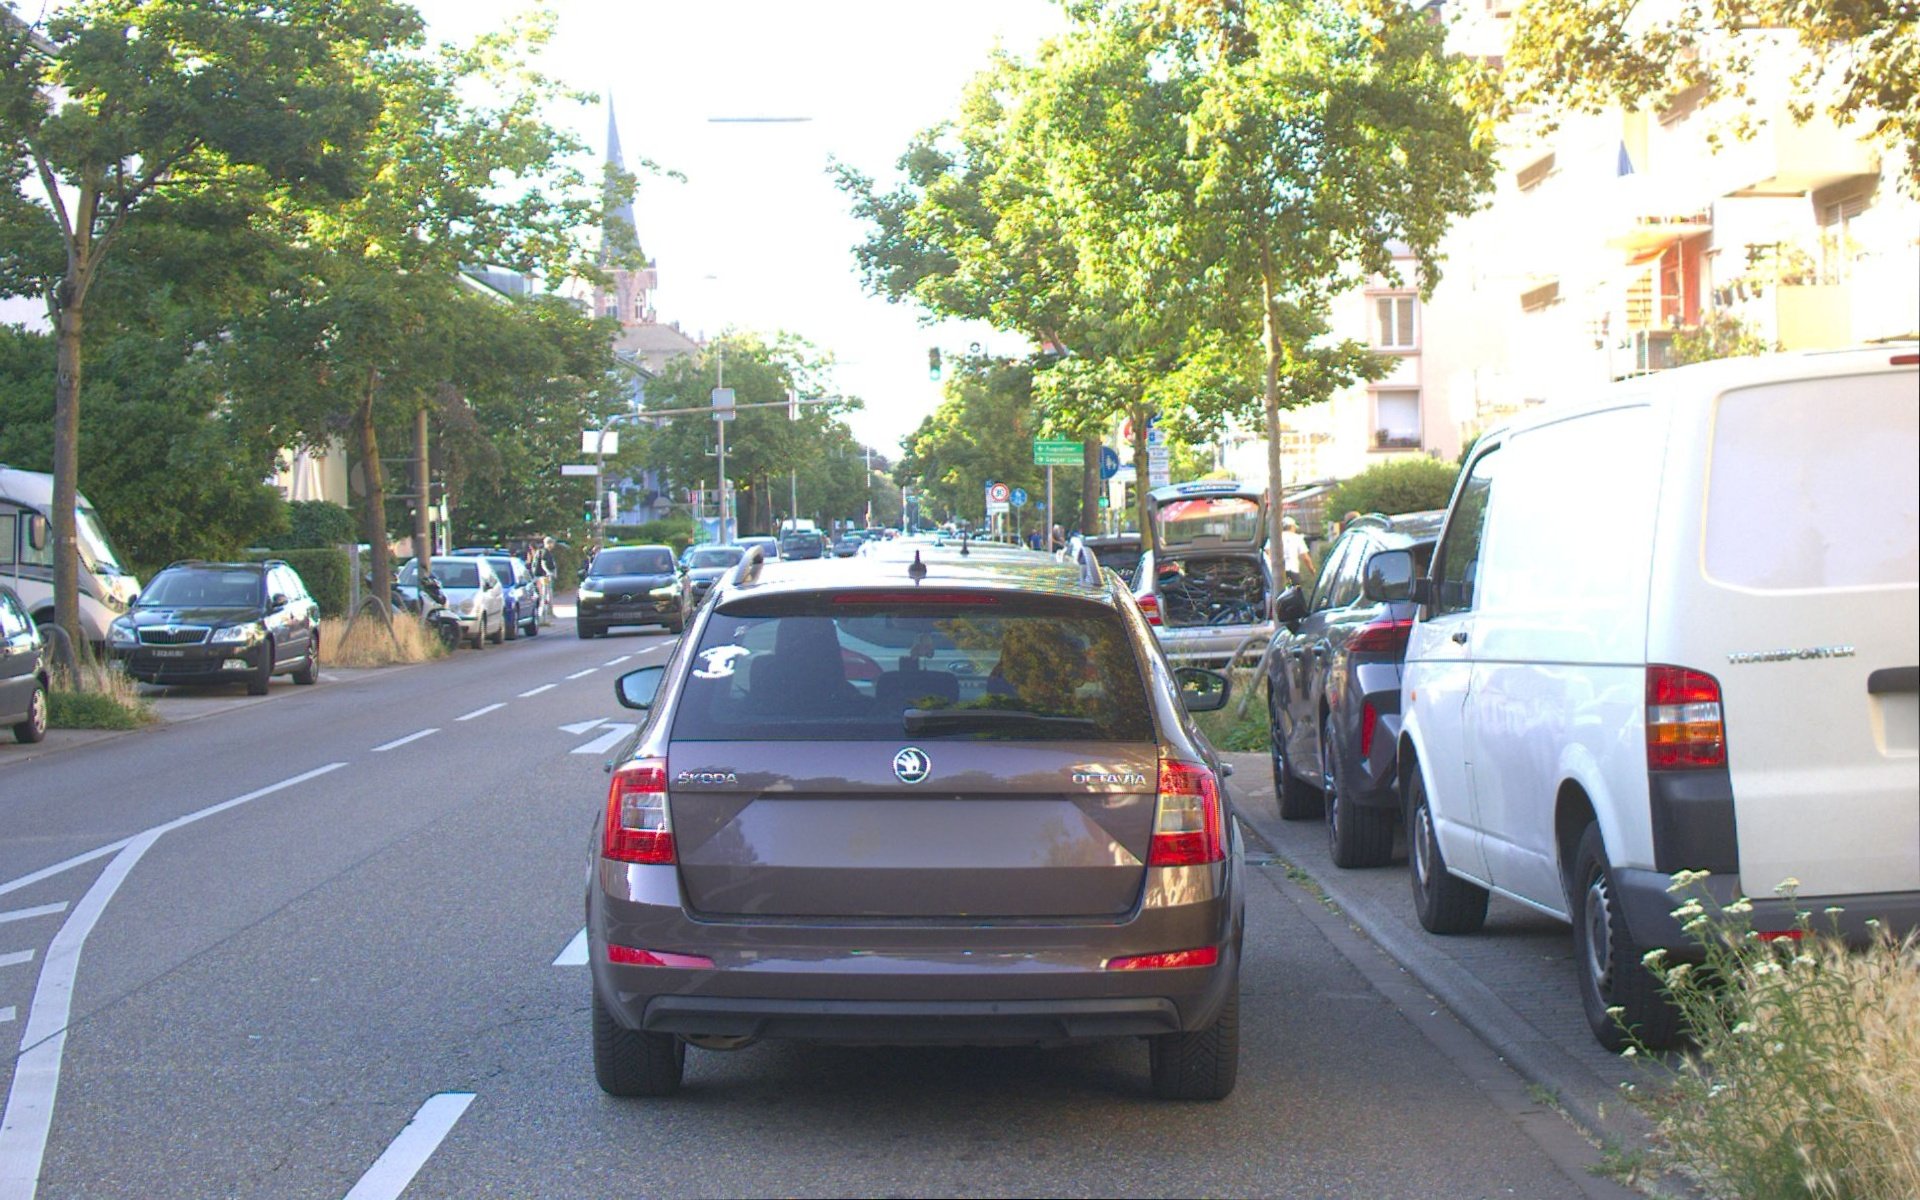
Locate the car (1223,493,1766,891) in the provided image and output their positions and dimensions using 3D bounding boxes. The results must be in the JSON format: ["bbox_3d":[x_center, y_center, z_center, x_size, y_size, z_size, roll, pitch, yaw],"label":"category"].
[{"bbox_3d":[2.468,0.354,16.951,1.856,1.598,4.312,-4,1,-1],"label":"car"}]

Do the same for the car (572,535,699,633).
[{"bbox_3d":[-5.685,-0.294,60.655,1.835,1.565,4.000,-3,1,-1],"label":"car"}]

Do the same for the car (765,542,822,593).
[{"bbox_3d":[-6.664,-1.325,137.770,1.993,1.902,4.964,-3,1,-1],"label":"car"}]

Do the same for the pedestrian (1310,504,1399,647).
[{"bbox_3d":[4.582,-0.284,39.917,0.757,1.634,0.694,-1,1,36],"label":"pedestrian"}]

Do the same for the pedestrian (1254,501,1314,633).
[{"bbox_3d":[4.390,-0.449,46.656,0.662,1.743,0.772,-3,1,0],"label":"pedestrian"}]

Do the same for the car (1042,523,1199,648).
[{"bbox_3d":[2.180,-0.231,47.643,1.856,1.576,4.014,-3,1,-1],"label":"car"}]

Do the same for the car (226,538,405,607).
[{"bbox_3d":[-18.050,-0.773,96.396,4.634,1.805,1.862,-1,1,0],"label":"car"}]

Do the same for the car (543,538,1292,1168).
[{"bbox_3d":[-0.132,0.559,10.301,1.773,1.484,4.311,0,1,-1],"label":"car"}]

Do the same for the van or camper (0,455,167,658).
[{"bbox_3d":[-14.845,-0.667,48.423,6.797,2.763,2.352,1,1,-1],"label":"van or camper"}]

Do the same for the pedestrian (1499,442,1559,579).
[{"bbox_3d":[6.868,-1.073,41.501,0.474,1.634,0.536,-2,1,-19],"label":"pedestrian"}]

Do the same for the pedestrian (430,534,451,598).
[{"bbox_3d":[-14.659,-0.950,96.991,0.449,1.790,0.504,-2,1,0],"label":"pedestrian"}]

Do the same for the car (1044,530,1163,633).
[{"bbox_3d":[2.206,-0.318,53.268,1.703,1.445,4.013,-3,1,2],"label":"car"}]

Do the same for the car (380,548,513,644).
[{"bbox_3d":[-8.340,-0.096,56.044,1.593,1.465,3.804,1,1,0],"label":"car"}]

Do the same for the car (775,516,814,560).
[{"bbox_3d":[-9.369,-3.525,195.123,1.993,2.469,4.000,-1,1,0],"label":"car"}]

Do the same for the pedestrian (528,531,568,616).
[{"bbox_3d":[-9.781,-0.631,81.633,0.780,1.981,0.821,-2,1,0],"label":"pedestrian"}]

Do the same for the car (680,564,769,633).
[{"bbox_3d":[-5.630,-0.062,82.538,1.760,1.447,4.534,-3,1,0],"label":"car"}]

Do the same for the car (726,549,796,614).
[{"bbox_3d":[-5.950,-0.583,103.332,1.805,1.798,4.746,-3,1,-1],"label":"car"}]

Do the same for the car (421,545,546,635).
[{"bbox_3d":[-8.371,-0.209,60.672,1.648,1.512,4.074,0,1,0],"label":"car"}]

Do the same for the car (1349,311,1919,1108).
[{"bbox_3d":[2.606,0.237,11.451,1.903,2.096,4.641,-1,1,-2],"label":"car"}]

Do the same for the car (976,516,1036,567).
[{"bbox_3d":[1.670,-2.079,122.658,1.994,1.766,4.000,1,1,2],"label":"car"}]

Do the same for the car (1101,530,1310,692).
[{"bbox_3d":[2.448,0.064,35.202,1.708,1.475,4.269,-3,1,-1],"label":"car"}]

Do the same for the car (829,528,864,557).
[{"bbox_3d":[-6.394,-3.248,193.427,1.830,1.574,4.000,-2,1,0],"label":"car"}]

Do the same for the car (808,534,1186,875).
[{"bbox_3d":[0.187,0.448,17.985,1.737,1.565,4.000,1,1,0],"label":"car"}]

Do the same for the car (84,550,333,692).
[{"bbox_3d":[-8.488,0.190,39.205,1.867,1.489,4.517,0,1,0],"label":"car"}]

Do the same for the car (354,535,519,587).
[{"bbox_3d":[-15.570,-1.176,102.380,4.634,1.530,1.862,0,1,-1],"label":"car"}]

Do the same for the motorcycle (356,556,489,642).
[{"bbox_3d":[-8.186,-0.009,52.335,2.052,1.260,0.765,-1,1,38],"label":"motorcycle"}]

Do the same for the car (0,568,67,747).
[{"bbox_3d":[-8.337,0.473,27.325,1.543,1.391,3.666,-1,1,-1],"label":"car"}]
